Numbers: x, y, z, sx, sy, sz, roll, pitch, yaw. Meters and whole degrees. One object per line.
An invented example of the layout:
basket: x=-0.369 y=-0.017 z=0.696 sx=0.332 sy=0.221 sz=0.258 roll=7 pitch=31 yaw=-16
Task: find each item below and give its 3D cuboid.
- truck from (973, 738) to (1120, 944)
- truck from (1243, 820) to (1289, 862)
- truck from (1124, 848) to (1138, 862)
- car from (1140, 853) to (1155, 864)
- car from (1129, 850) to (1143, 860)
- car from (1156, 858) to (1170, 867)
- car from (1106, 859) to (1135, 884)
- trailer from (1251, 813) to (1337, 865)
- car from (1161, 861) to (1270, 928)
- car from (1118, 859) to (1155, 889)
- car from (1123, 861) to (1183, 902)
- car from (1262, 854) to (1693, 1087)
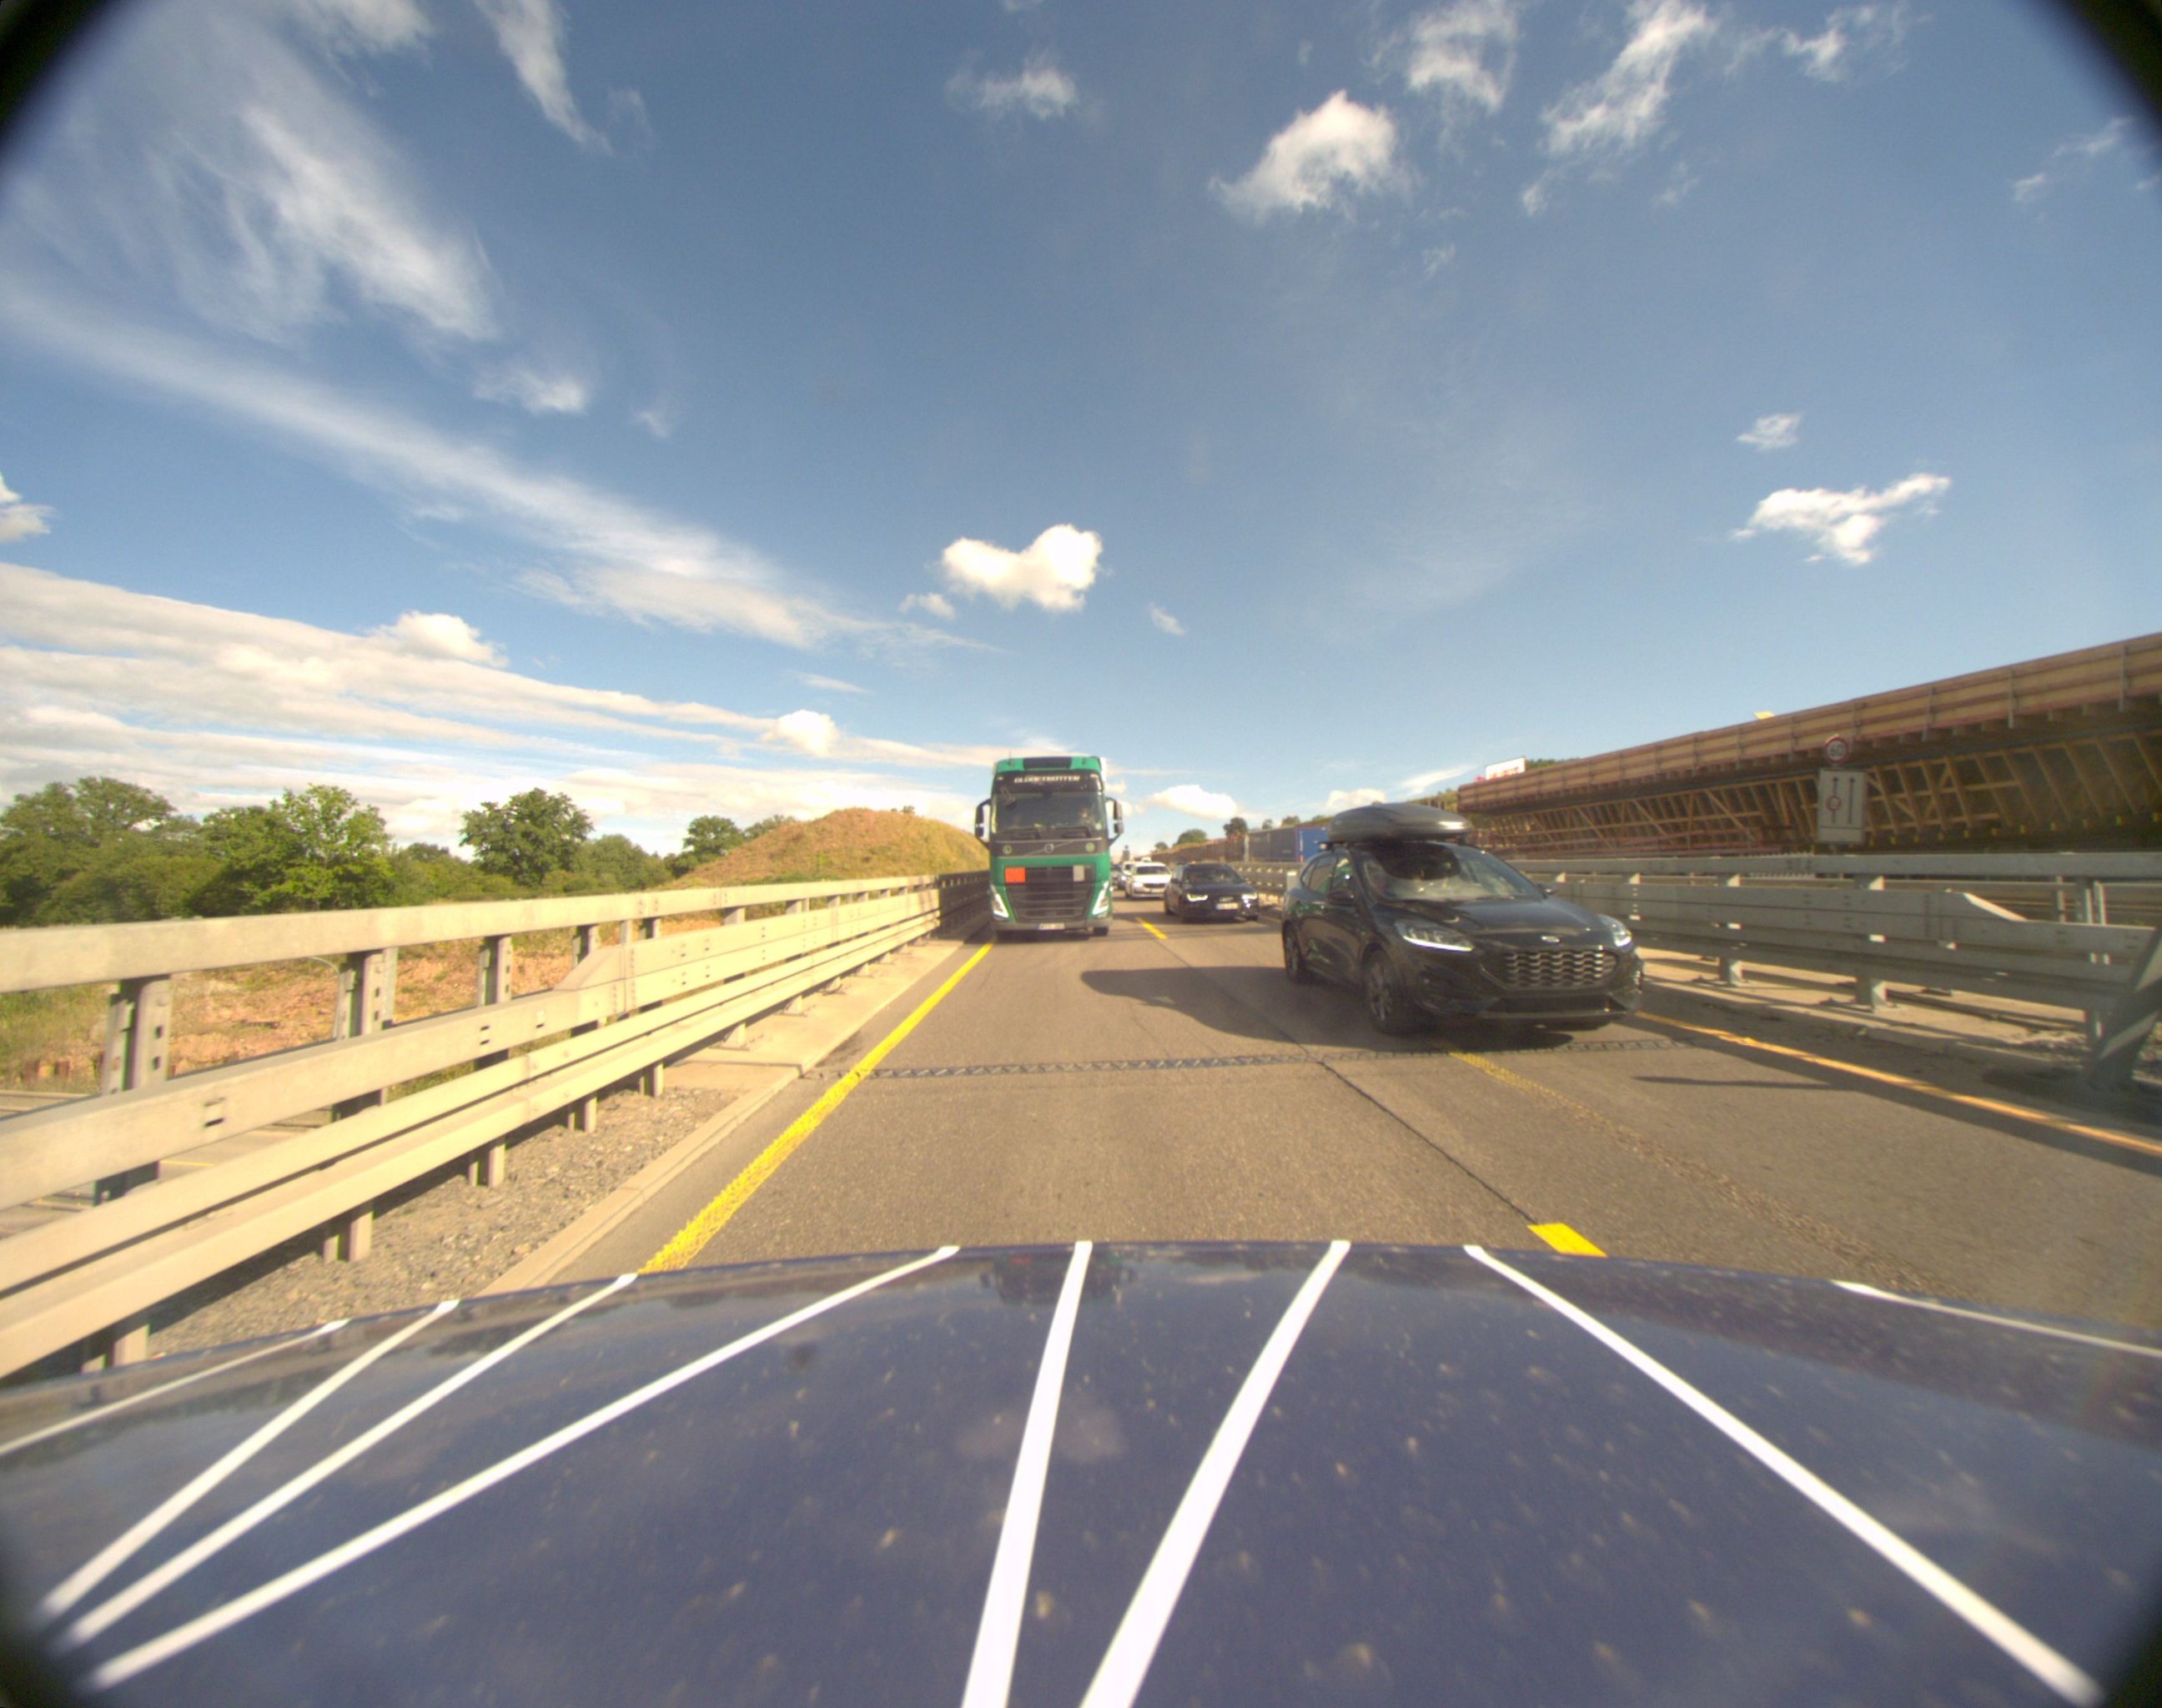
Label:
truck: x=-0.736 y=-0.271 z=19.633 sx=2.664 sy=3.825 sz=10.315 roll=-2 pitch=0 yaw=-1
truck: x=16.706 y=-1.173 z=68.826 sx=2.849 sy=3.607 sz=4.809 roll=-2 pitch=1 yaw=-1
truck: x=14.402 y=0.356 z=218.195 sx=3.179 sy=3.843 sz=8.233 roll=-2 pitch=1 yaw=-1
car: x=14.801 y=0.907 z=169.997 sx=2.572 sy=2.329 sz=6.404 roll=-2 pitch=0 yaw=-1
car: x=14.297 y=0.310 z=197.642 sx=2.887 sy=2.329 sz=6.404 roll=-2 pitch=0 yaw=-1
car: x=15.583 y=1.564 z=145.093 sx=1.949 sy=1.422 sz=4.407 roll=-4 pitch=1 yaw=-2
car: x=2.623 y=1.143 z=51.752 sx=1.659 sy=1.510 sz=3.999 roll=-2 pitch=0 yaw=-1
trailer: x=16.856 y=-1.143 z=61.518 sx=2.870 sy=3.645 sz=13.526 roll=-2 pitch=0 yaw=-1
car: x=3.337 y=0.953 z=19.738 sx=1.949 sy=1.422 sz=4.504 roll=-1 pitch=1 yaw=-1
car: x=3.105 y=1.100 z=42.941 sx=1.659 sy=1.510 sz=3.999 roll=-2 pitch=0 yaw=-1
car: x=2.852 y=1.060 z=30.955 sx=1.949 sy=1.422 sz=4.408 roll=-4 pitch=0 yaw=0
car: x=3.218 y=0.798 z=7.347 sx=1.804 sy=1.533 sz=4.384 roll=-1 pitch=0 yaw=-1
